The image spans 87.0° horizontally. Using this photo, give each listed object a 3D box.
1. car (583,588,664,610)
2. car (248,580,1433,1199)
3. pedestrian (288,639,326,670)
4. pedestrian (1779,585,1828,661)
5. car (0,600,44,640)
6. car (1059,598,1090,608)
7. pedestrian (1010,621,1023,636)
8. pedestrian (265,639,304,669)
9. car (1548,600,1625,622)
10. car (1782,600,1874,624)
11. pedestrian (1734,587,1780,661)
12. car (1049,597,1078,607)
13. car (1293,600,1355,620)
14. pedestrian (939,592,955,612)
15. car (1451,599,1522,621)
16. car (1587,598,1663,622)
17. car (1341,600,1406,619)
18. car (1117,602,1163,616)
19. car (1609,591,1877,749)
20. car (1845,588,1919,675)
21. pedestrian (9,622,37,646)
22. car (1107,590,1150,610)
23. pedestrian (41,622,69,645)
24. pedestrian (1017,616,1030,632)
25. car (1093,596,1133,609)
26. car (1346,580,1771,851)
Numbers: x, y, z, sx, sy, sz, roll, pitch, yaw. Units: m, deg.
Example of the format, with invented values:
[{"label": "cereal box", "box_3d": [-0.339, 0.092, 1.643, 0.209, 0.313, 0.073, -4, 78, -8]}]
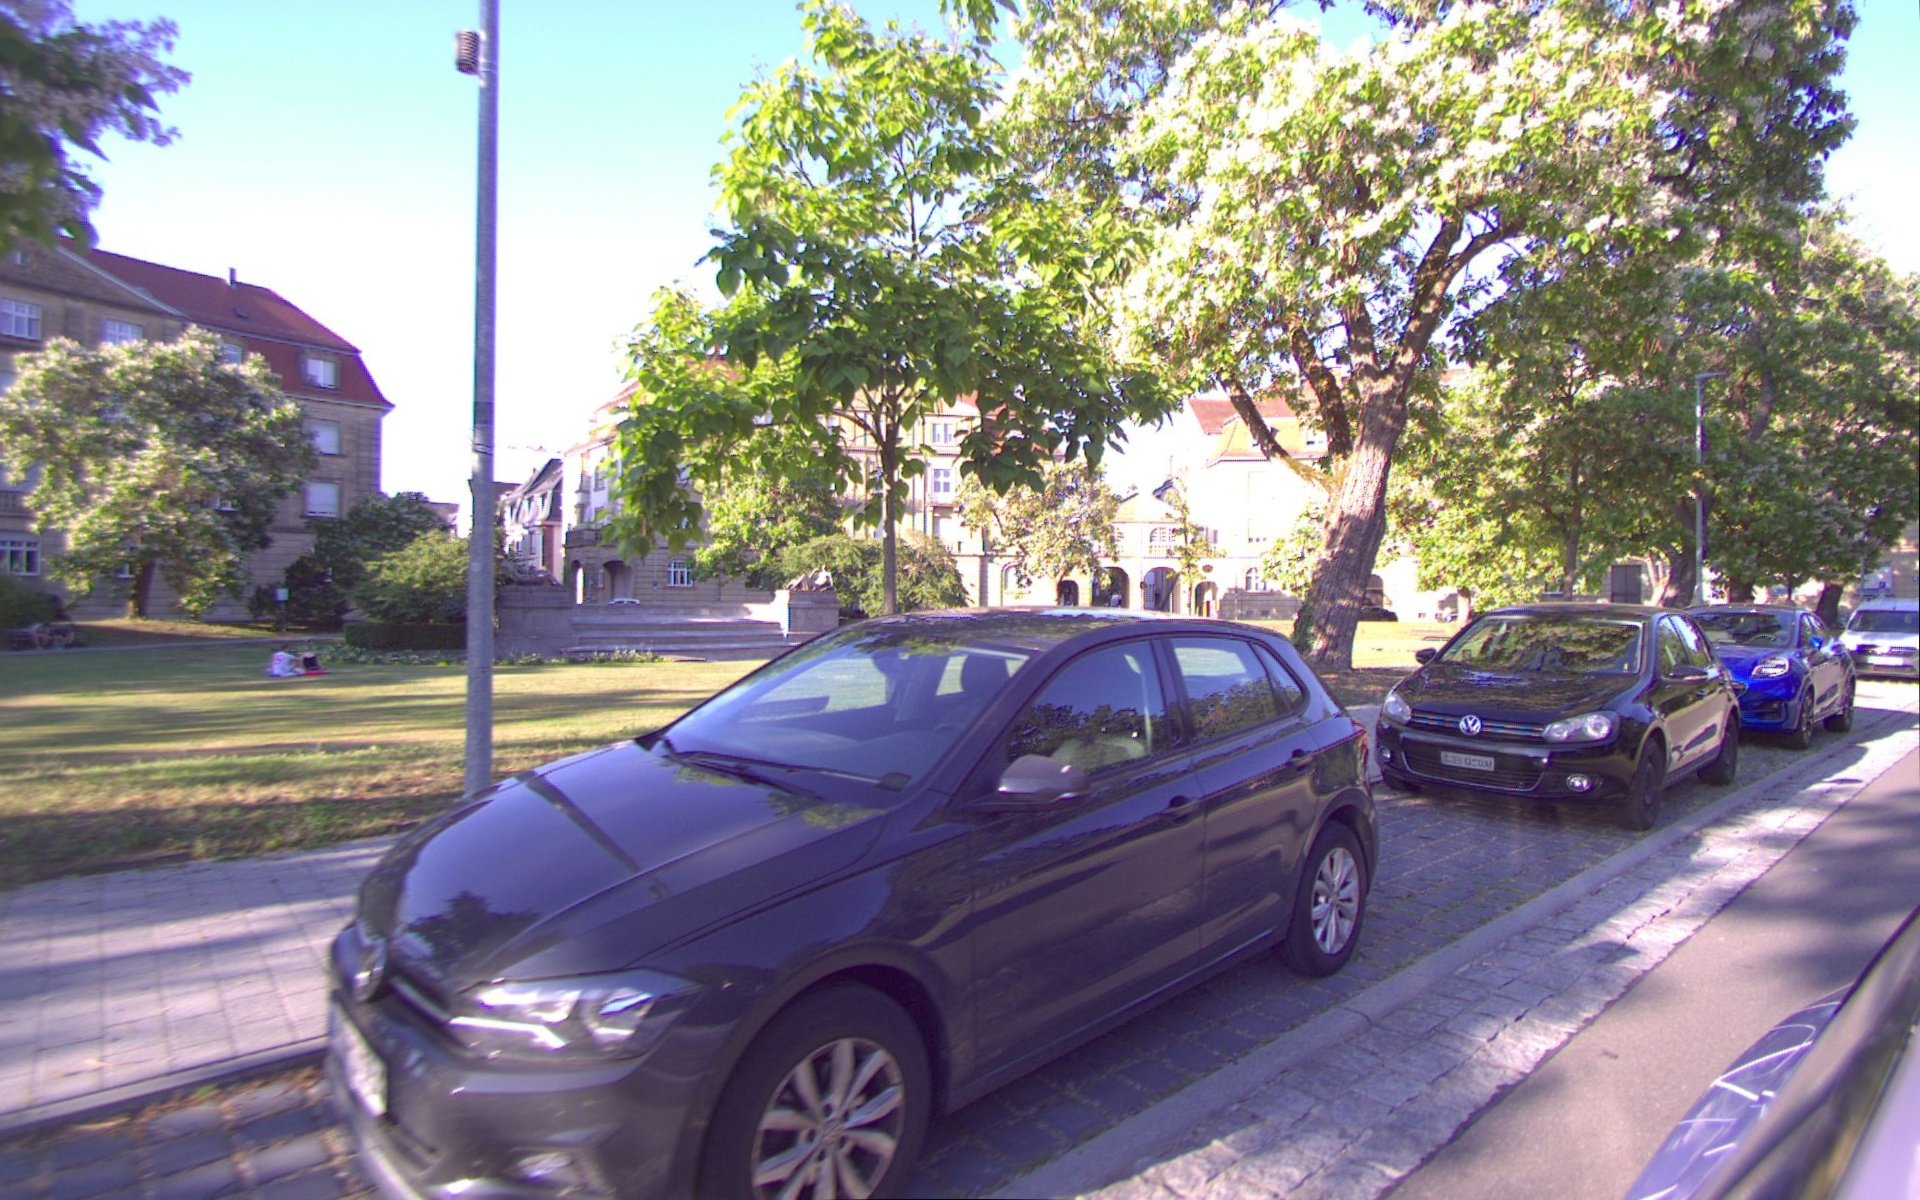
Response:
[{"label": "car", "box_3d": [-22.356, -0.076, 67.271, 4.854, 1.435, 1.820, 0, 1, -34]}, {"label": "car", "box_3d": [0.088, 0.688, 3.670, 4.180, 1.482, 1.627, 0, 1, -45]}, {"label": "pedestrian", "box_3d": [-17.808, 1.475, 27.596, 0.655, 0.804, 0.586, 0, 0, 6]}, {"label": "pedestrian", "box_3d": [20.097, 0.538, 24.108, 0.719, 1.758, 0.754, 1, -2, -40]}, {"label": "car", "box_3d": [-42.427, 0.861, 43.609, 1.976, 1.728, 3.972, -1, -1, 21]}, {"label": "car", "box_3d": [16.595, 0.446, 146.830, 4.287, 1.435, 1.820, 0, 0, -1]}, {"label": "pedestrian", "box_3d": [3.329, 1.677, 59.787, 0.663, 0.892, 0.578, 0, -1, -3]}, {"label": "pedestrian", "box_3d": [-18.475, 1.473, 27.693, 0.655, 0.804, 0.586, 0, 0, 6]}, {"label": "car", "box_3d": [42.359, 0.721, 68.546, 4.328, 1.435, 1.826, 0, 0, 30]}, {"label": "car", "box_3d": [55.795, 0.762, 65.103, 4.439, 1.437, 1.905, 1, 1, 44]}, {"label": "pedestrian", "box_3d": [19.506, 0.580, 24.761, 0.719, 1.758, 0.726, 1, -2, -40]}, {"label": "car", "box_3d": [16.155, 0.328, 157.428, 4.287, 1.435, 1.820, 0, 0, -1]}, {"label": "car", "box_3d": [27.157, 0.746, 75.537, 4.316, 1.435, 1.808, 0, 0, 20]}, {"label": "pedestrian", "box_3d": [-0.945, 0.141, 73.561, 0.933, 1.494, 0.682, 0, 0, -39]}, {"label": "car", "box_3d": [37.066, 0.679, 71.389, 4.393, 1.435, 1.553, 0, 0, 26]}, {"label": "car", "box_3d": [47.380, 0.703, 72.211, 4.418, 1.620, 1.783, 0, 0, 32]}, {"label": "car", "box_3d": [32.597, 0.707, 79.974, 4.588, 1.435, 1.809, 0, 0, 18]}, {"label": "car", "box_3d": [18.416, 0.884, 103.720, 4.283, 1.435, 1.822, 0, 0, -6]}, {"label": "car", "box_3d": [9.466, 0.677, 12.109, 4.200, 1.570, 1.735, 0, 1, -41]}, {"label": "car", "box_3d": [20.815, 0.617, 22.150, 4.436, 1.762, 1.680, 0, 1, -42]}, {"label": "pedestrian", "box_3d": [-33.394, 1.204, 36.077, 0.584, 0.804, 0.658, 0, 0, 38]}, {"label": "car", "box_3d": [18.320, 0.000, 110.008, 4.285, 2.134, 1.821, 0, 0, -3]}, {"label": "pedestrian", "box_3d": [-32.849, 1.219, 36.742, 0.584, 0.804, 0.658, 0, 0, 38]}, {"label": "pedestrian", "box_3d": [3.818, 1.442, 60.799, 0.663, 0.892, 0.578, 0, -1, -3]}, {"label": "car", "box_3d": [17.567, 0.280, 116.191, 4.283, 1.435, 1.822, 0, 0, -6]}, {"label": "car", "box_3d": [4.904, 0.648, 7.992, 4.347, 1.570, 1.734, 0, 1, -43]}]
